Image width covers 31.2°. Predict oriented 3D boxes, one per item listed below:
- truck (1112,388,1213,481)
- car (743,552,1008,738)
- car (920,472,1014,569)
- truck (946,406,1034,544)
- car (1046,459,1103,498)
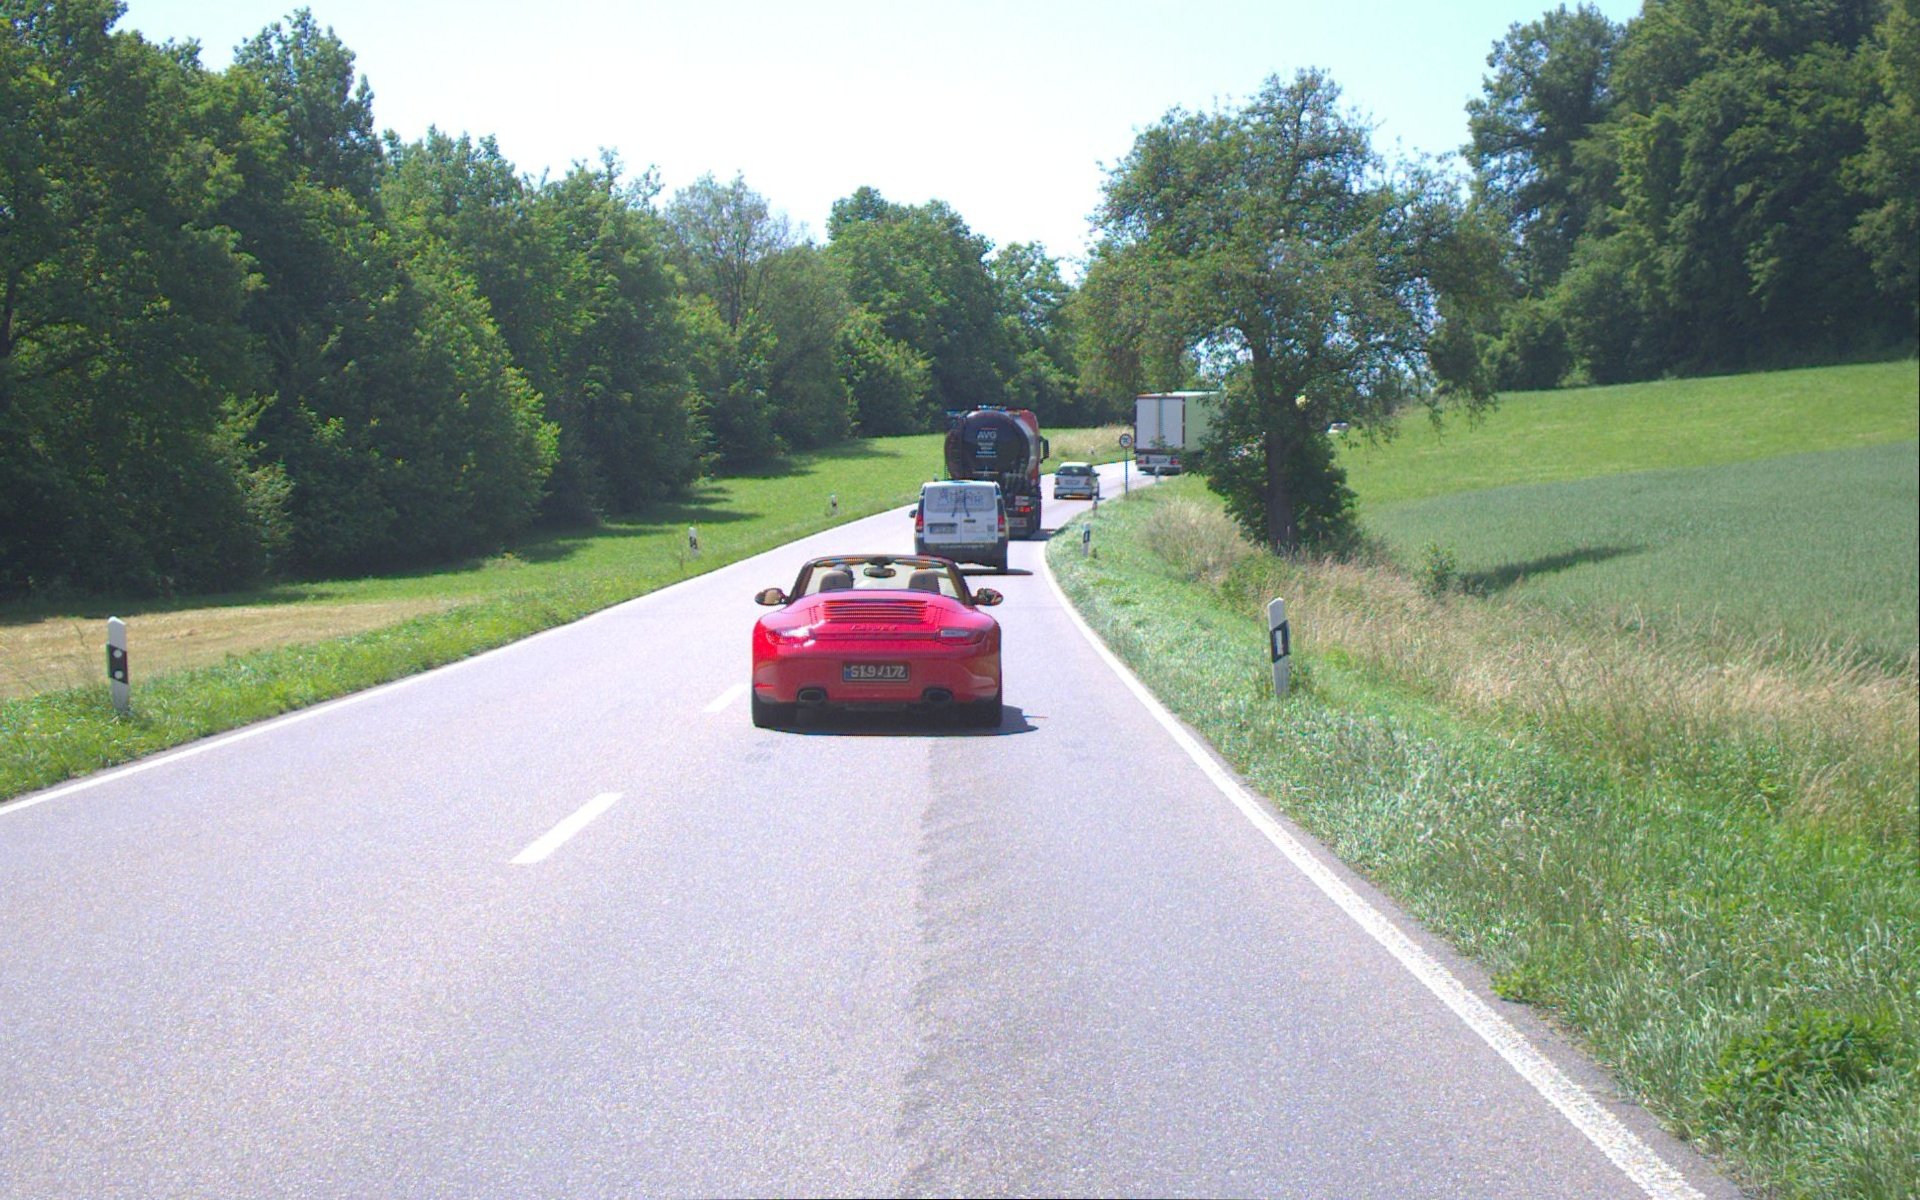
[{"bbox_3d":[10.675,-8.725,179.755,3.727,4.644,12.027,0,4,11],"label":"truck"},{"bbox_3d":[-0.607,0.294,26.479,1.882,1.250,4.010,0,2,0],"label":"car"},{"bbox_3d":[0.180,-1.671,70.949,1.679,1.894,4.009,0,3,4],"label":"car"},{"bbox_3d":[0.858,-3.838,106.830,2.404,4.035,12.551,0,2,-1],"label":"truck"},{"bbox_3d":[4.870,-5.151,145.833,1.831,1.508,4.190,0,4,10],"label":"car"}]
